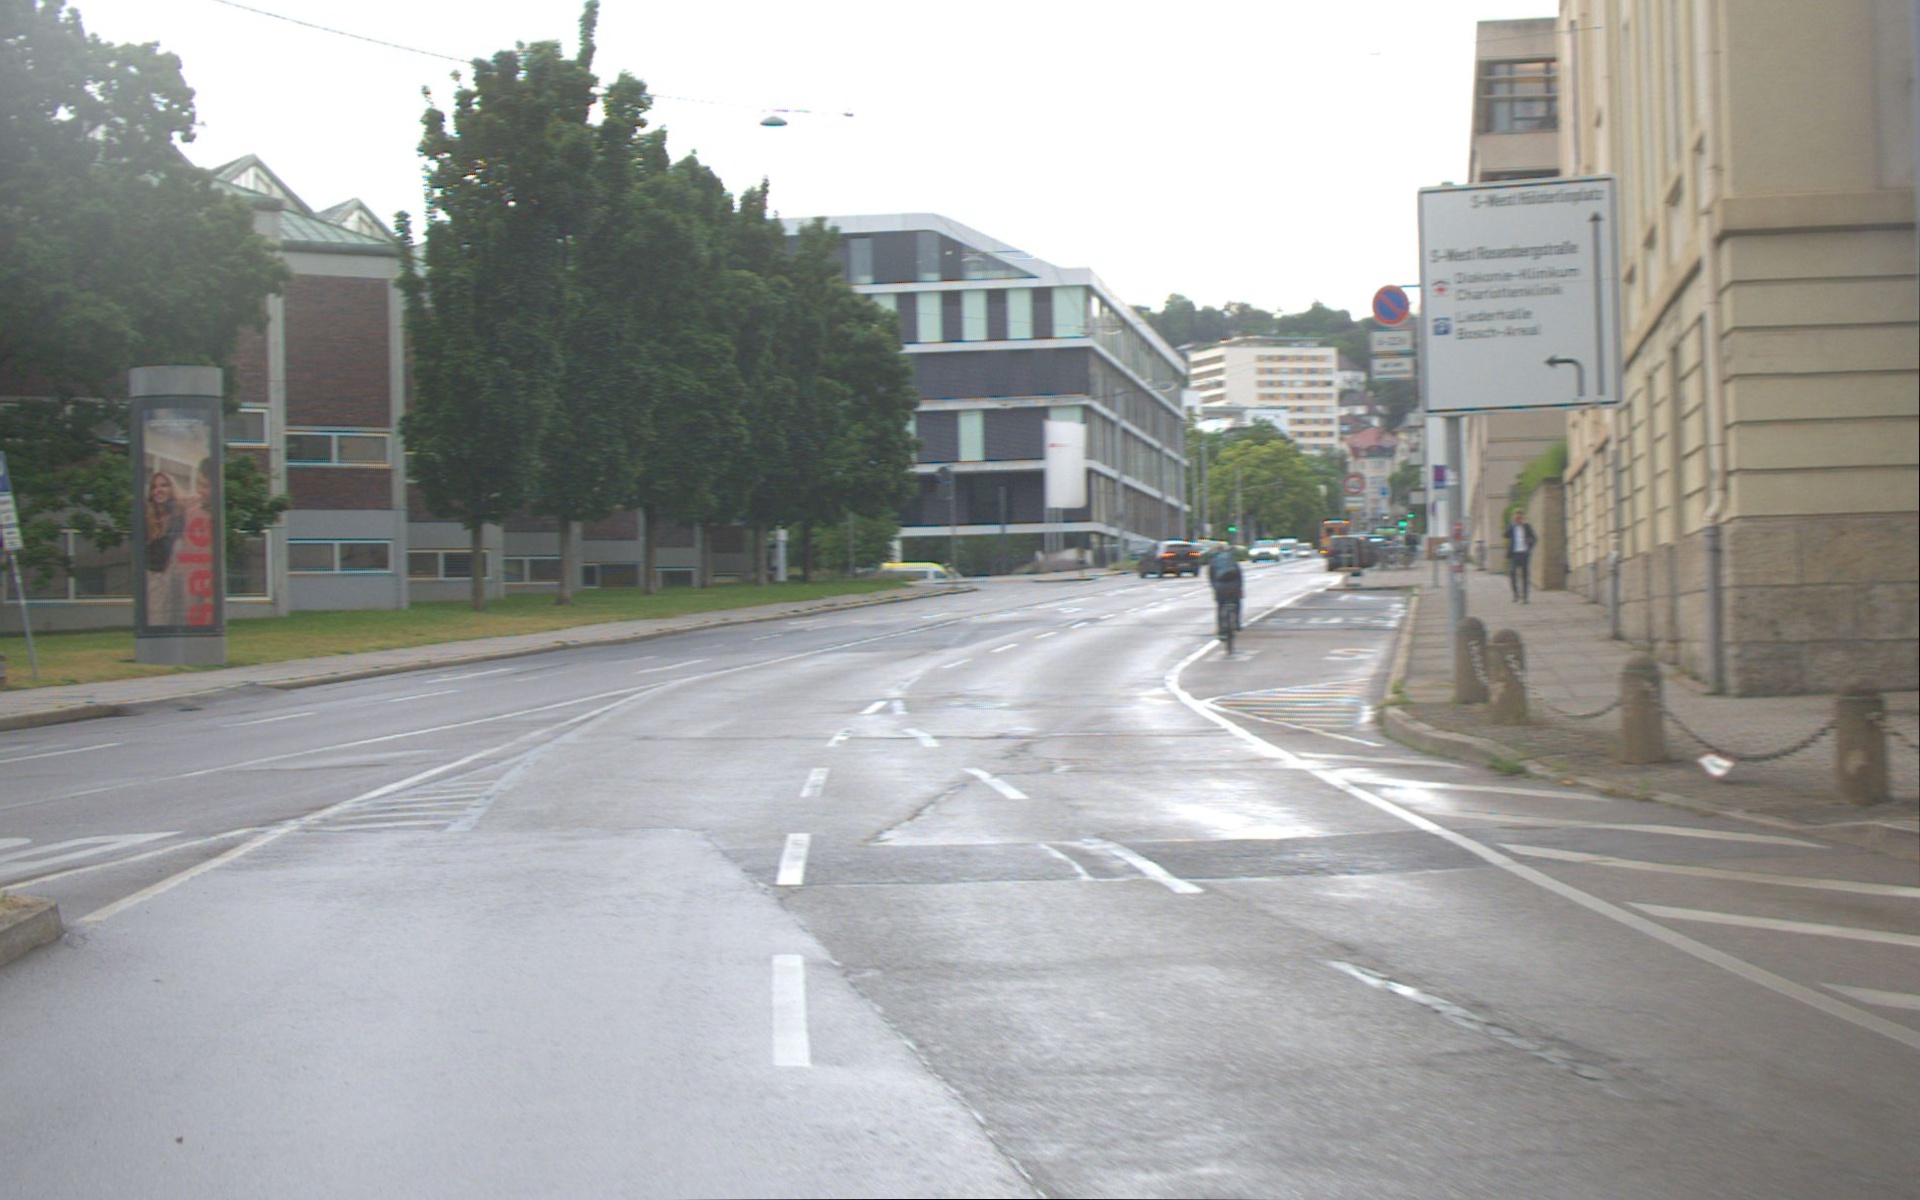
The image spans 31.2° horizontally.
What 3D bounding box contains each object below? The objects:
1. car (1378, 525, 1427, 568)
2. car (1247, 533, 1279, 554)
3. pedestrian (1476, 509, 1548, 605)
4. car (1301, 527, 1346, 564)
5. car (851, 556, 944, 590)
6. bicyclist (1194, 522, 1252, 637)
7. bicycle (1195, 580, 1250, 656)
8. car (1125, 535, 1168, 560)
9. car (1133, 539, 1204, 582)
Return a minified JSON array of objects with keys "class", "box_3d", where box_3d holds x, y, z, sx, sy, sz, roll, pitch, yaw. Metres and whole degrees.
[{"class":"car","box_3d":[17.575,-2.132,136.514,1.839,1.554,3.999,0,3,9]},{"class":"car","box_3d":[21.098,-3.941,239.569,1.840,1.349,3.415,0,3,11]},{"class":"pedestrian","box_3d":[10.728,-0.848,66.750,1.240,1.782,1.594,-3,1,11]},{"class":"car","box_3d":[16.670,-2.512,157.570,1.839,1.554,3.999,0,3,9]},{"class":"car","box_3d":[-3.656,-1.596,201.861,5.228,2.007,2.000,0,1,7]},{"class":"bicyclist","box_3d":[3.767,-0.303,49.233,0.700,1.627,1.128,0,1,11]},{"class":"bicycle","box_3d":[3.768,0.245,49.263,0.646,1.053,1.821,-1,0,8]},{"class":"car","box_3d":[10.146,-2.872,186.678,1.840,1.231,3.415,0,3,11]},{"class":"car","box_3d":[8.569,-1.638,141.599,1.892,1.619,3.647,-1,3,-14]}]
